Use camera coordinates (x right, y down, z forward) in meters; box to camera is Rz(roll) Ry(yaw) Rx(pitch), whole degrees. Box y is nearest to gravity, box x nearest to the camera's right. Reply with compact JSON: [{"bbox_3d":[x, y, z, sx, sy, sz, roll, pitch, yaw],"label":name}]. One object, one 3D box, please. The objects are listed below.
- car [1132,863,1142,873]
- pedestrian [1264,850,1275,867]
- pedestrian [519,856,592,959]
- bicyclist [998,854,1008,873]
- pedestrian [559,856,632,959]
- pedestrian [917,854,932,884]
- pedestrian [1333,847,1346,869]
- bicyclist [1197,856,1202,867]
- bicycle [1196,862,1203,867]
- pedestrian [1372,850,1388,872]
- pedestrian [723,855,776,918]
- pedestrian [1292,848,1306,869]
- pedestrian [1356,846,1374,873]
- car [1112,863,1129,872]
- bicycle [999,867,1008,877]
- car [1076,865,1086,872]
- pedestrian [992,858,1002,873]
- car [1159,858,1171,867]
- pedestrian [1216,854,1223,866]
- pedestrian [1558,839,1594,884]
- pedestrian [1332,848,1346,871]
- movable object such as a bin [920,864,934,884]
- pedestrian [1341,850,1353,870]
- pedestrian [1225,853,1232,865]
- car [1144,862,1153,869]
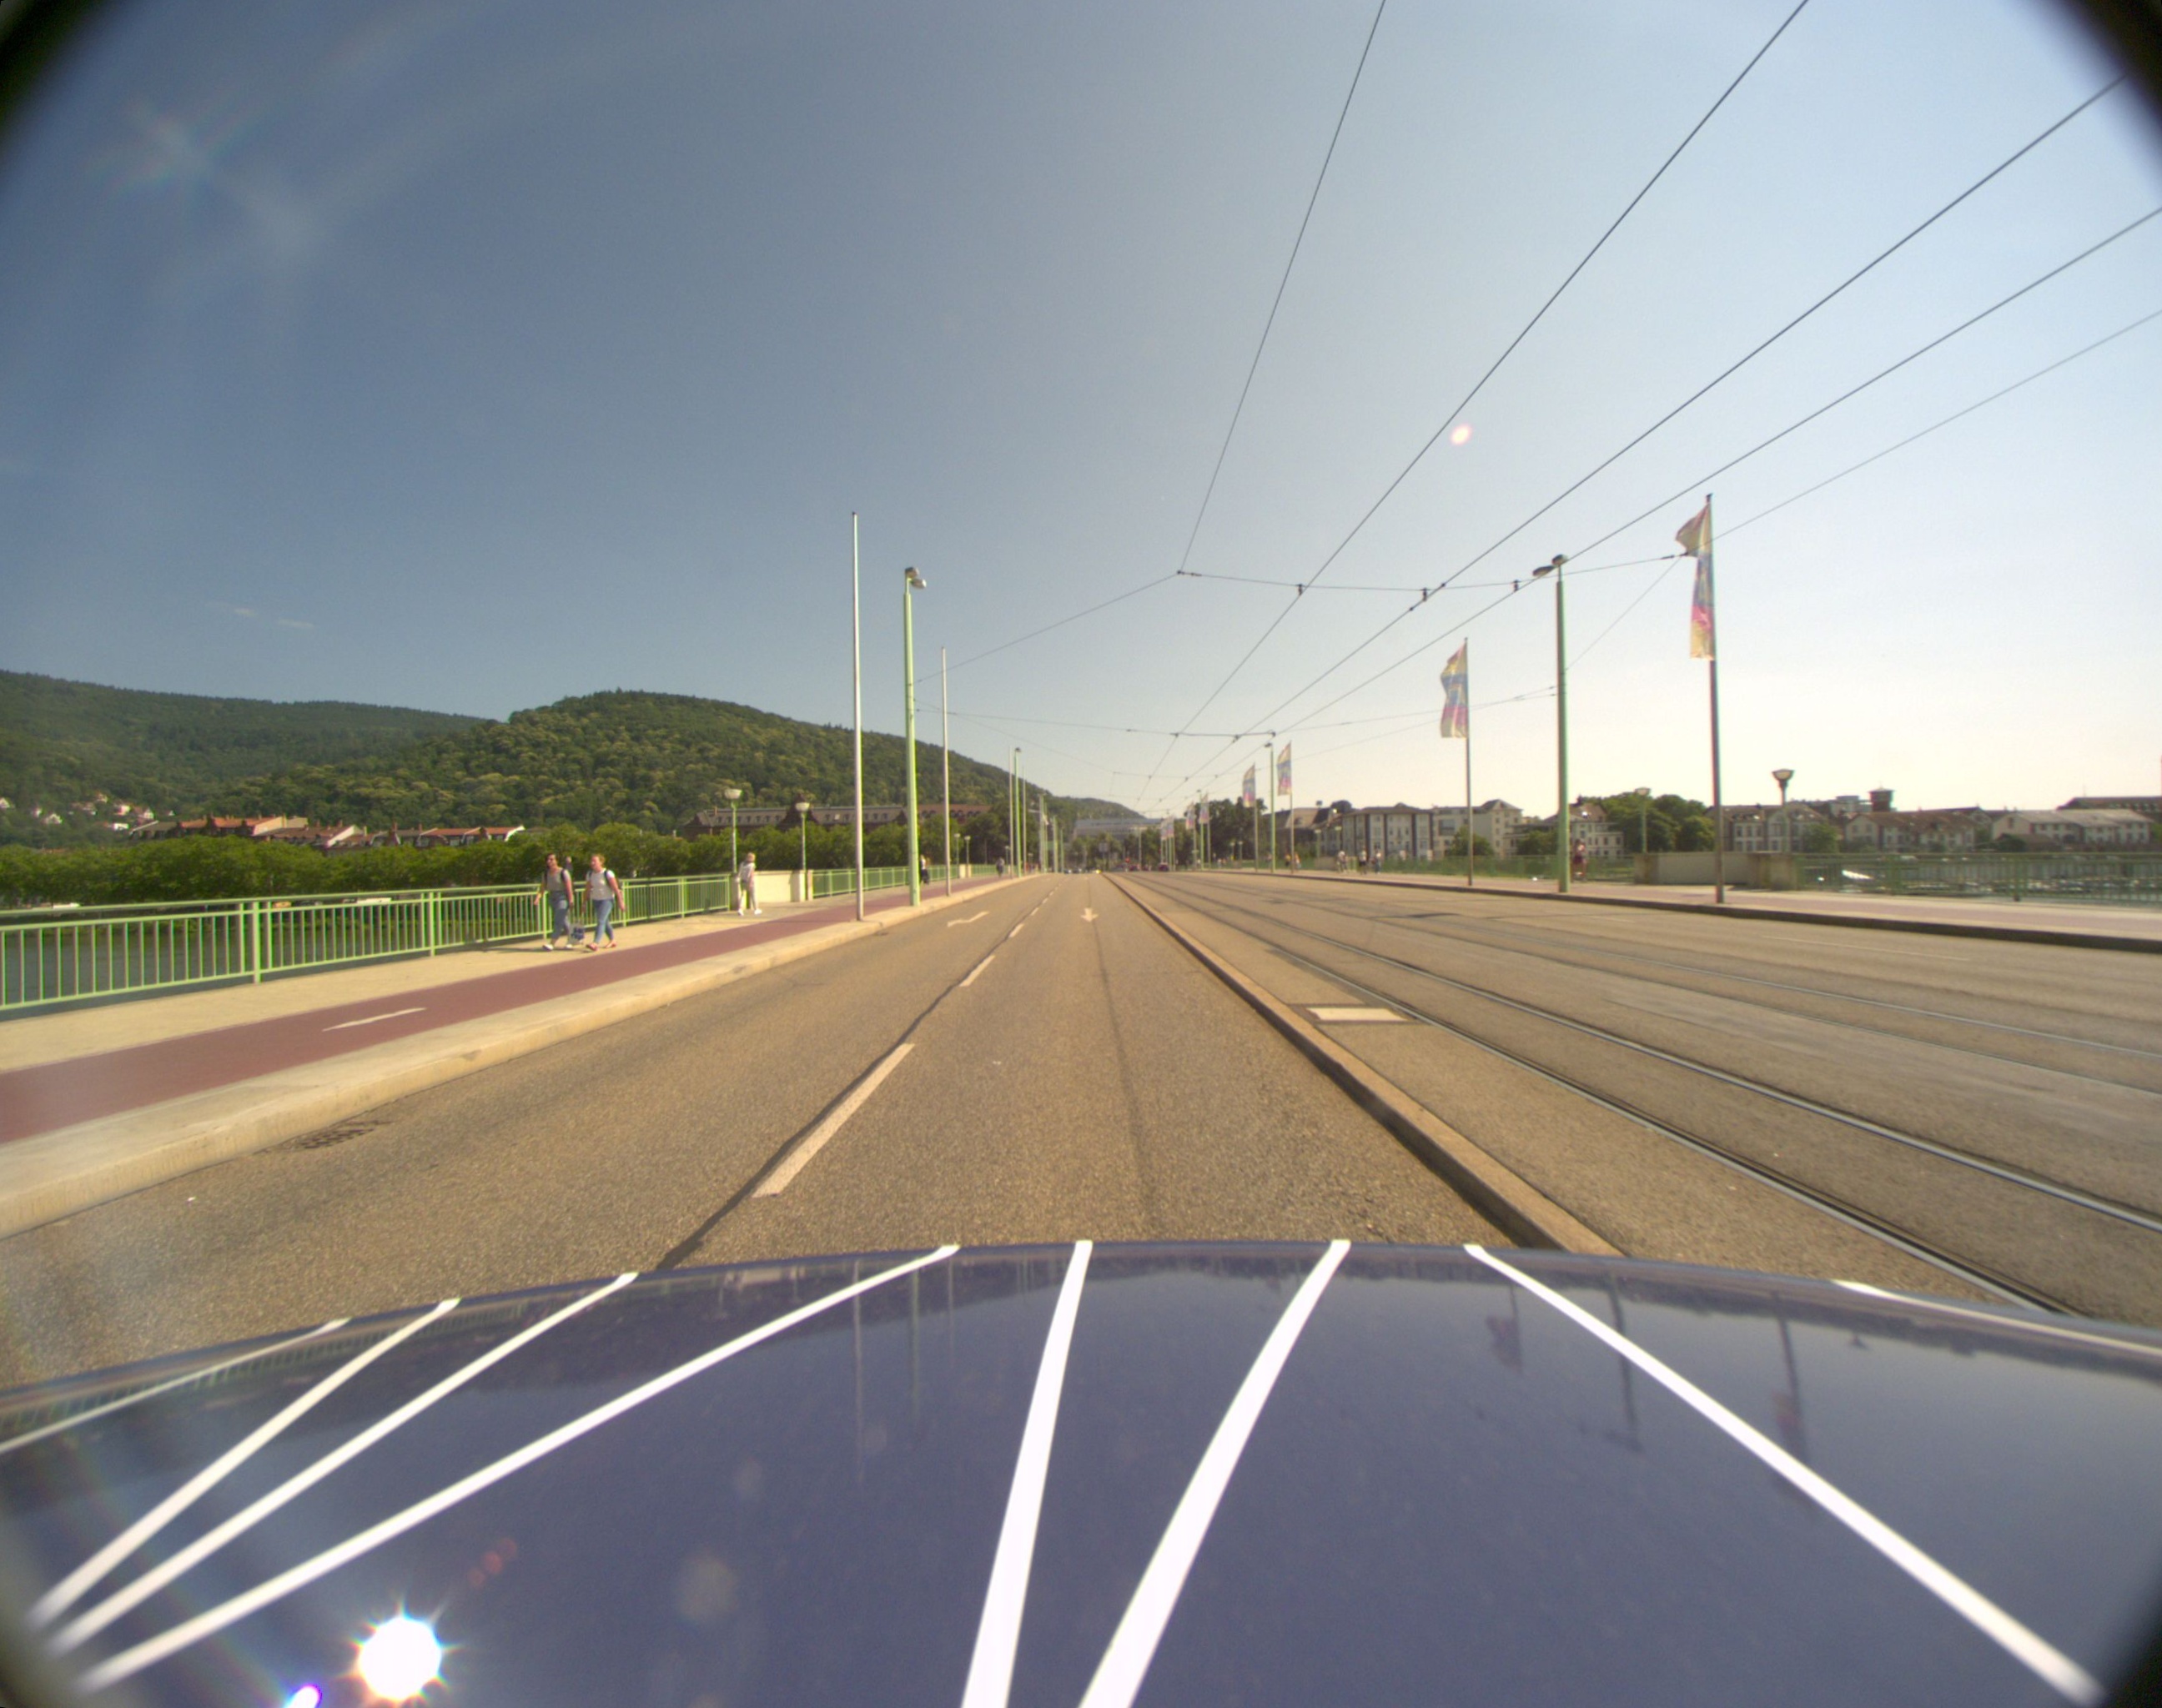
[{"bbox_3d":[11.601,2.878,157.355,1.714,1.686,4.000,-5,0,1],"label":"car"},{"bbox_3d":[18.994,0.465,76.715,0.787,1.690,1.022,-4,1,0],"label":"pedestrian"},{"bbox_3d":[-8.773,0.871,12.700,0.669,1.649,0.746,-1,1,0],"label":"pedestrian"},{"bbox_3d":[-6.820,0.807,66.334,0.731,1.655,0.844,0,0,1],"label":"bicyclist"},{"bbox_3d":[-8.054,0.870,12.644,0.664,1.649,0.825,0,1,0],"label":"pedestrian"},{"bbox_3d":[-8.906,0.840,43.147,0.664,1.696,0.859,0,1,0],"label":"pedestrian"},{"bbox_3d":[19.737,0.300,58.089,0.592,1.690,1.022,-3,1,0],"label":"pedestrian"},{"bbox_3d":[17.923,1.067,115.010,0.666,1.641,0.622,-1,1,1],"label":"bicyclist"},{"bbox_3d":[17.926,1.567,115.024,0.667,0.712,2.173,-1,0,1],"label":"bicycle"},{"bbox_3d":[19.128,0.441,48.643,0.592,1.406,1.022,-3,0,0],"label":"pedestrian"},{"bbox_3d":[-8.879,0.851,20.409,0.950,1.653,1.082,0,1,0],"label":"pedestrian"},{"bbox_3d":[18.515,0.387,64.640,0.787,1.690,1.022,-4,1,0],"label":"pedestrian"},{"bbox_3d":[18.307,0.378,49.026,0.671,1.690,1.022,-3,1,0],"label":"pedestrian"},{"bbox_3d":[10.221,3.420,196.347,3.997,2.002,2.000,-6,0,-2],"label":"car"},{"bbox_3d":[-6.812,1.579,66.599,0.595,0.761,1.866,0,0,1],"label":"bicycle"},{"bbox_3d":[-0.008,3.201,168.013,1.998,1.379,4.000,-6,0,1],"label":"car"},{"bbox_3d":[-9.276,1.276,84.231,0.950,1.653,1.082,1,0,0],"label":"pedestrian"},{"bbox_3d":[14.209,1.403,128.409,1.721,1.446,3.901,0,0,0],"label":"car"},{"bbox_3d":[19.747,0.824,108.322,0.592,1.690,1.022,-6,0,0],"label":"pedestrian"},{"bbox_3d":[19.372,0.287,29.761,0.686,1.680,1.022,-3,1,0],"label":"pedestrian"},{"bbox_3d":[18.568,0.415,54.689,0.627,1.590,1.022,-3,1,0],"label":"pedestrian"},{"bbox_3d":[-8.897,1.157,43.985,0.583,1.084,0.933,0,0,0],"label":"movable object such as a bin"},{"bbox_3d":[19.243,0.443,54.958,0.547,1.429,0.789,-3,1,0],"label":"pedestrian"},{"bbox_3d":[20.918,0.659,107.644,0.592,1.690,0.905,-6,0,0],"label":"pedestrian"},{"bbox_3d":[14.538,2.540,164.633,1.672,1.428,4.000,-1,1,1],"label":"car"}]
